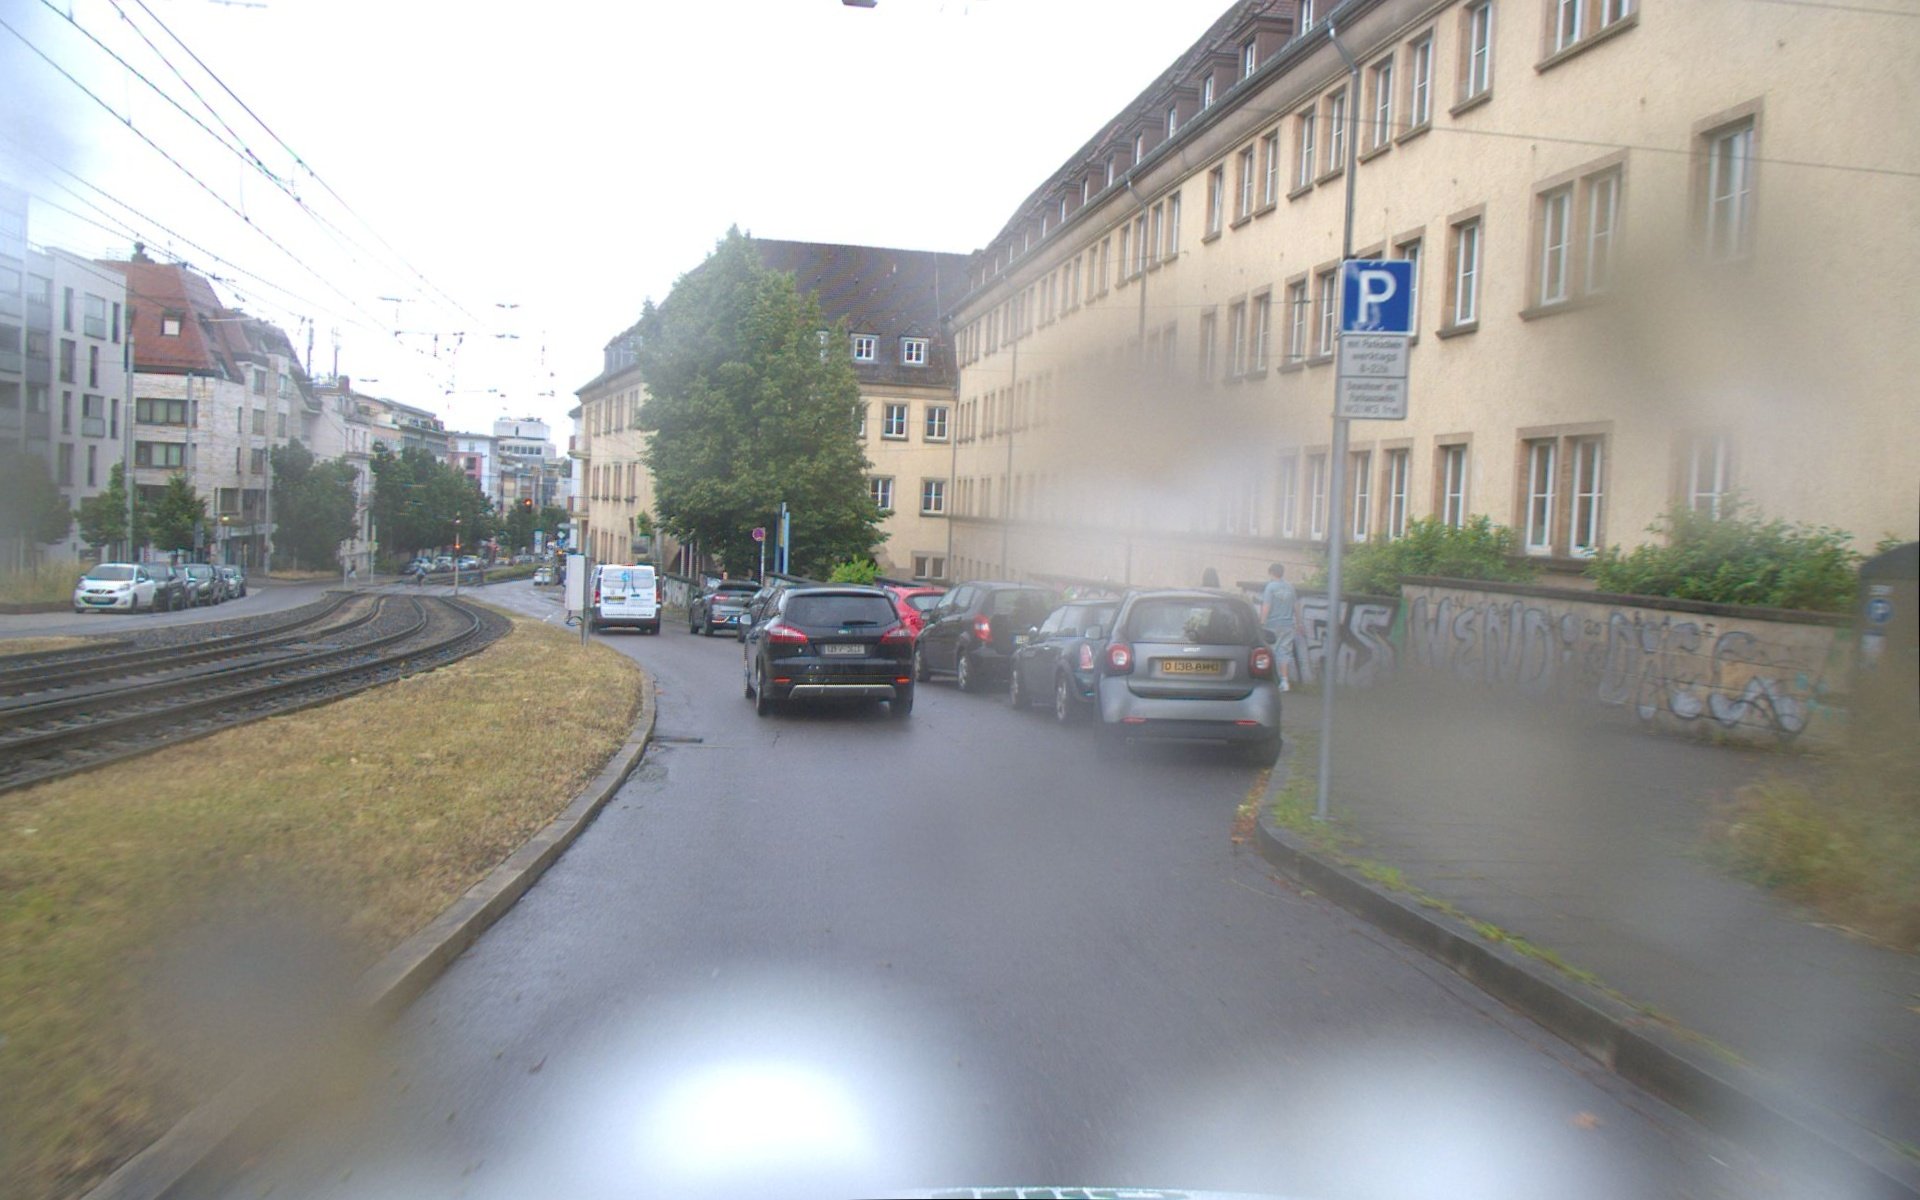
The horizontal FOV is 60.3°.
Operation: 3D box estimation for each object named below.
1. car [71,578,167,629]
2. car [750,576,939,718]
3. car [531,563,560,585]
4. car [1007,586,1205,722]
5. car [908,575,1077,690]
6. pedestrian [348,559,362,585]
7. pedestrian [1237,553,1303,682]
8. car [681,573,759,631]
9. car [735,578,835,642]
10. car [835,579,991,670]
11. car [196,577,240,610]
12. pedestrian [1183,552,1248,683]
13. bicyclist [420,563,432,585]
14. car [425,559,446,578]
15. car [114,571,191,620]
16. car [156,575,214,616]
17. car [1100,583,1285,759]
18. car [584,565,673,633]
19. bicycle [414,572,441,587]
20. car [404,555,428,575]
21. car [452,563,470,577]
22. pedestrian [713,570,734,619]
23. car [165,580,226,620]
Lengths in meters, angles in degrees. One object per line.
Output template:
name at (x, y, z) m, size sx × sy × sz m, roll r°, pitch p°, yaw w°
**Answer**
car at (-26.408, 0.099, 52.034) m, size 1.734 × 1.505 × 3.724 m, roll 1°, pitch 0°, yaw -12°
car at (-1.497, 0.490, 19.937) m, size 1.885 × 1.505 × 3.991 m, roll 1°, pitch 1°, yaw -10°
car at (-35.355, -2.186, 141.205) m, size 1.956 × 1.803 × 3.993 m, roll 2°, pitch 0°, yaw -8°
car at (1.633, 0.566, 19.664) m, size 1.507 × 1.441 × 3.636 m, roll 0°, pitch 1°, yaw -9°
car at (0.405, 0.439, 25.039) m, size 1.637 × 1.600 × 3.842 m, roll 0°, pitch 0°, yaw -14°
pedestrian at (-46.433, -2.118, 126.985) m, size 0.893 × 1.965 × 0.819 m, roll 2°, pitch 0°, yaw -23°
pedestrian at (4.355, 0.241, 23.253) m, size 0.704 × 1.785 × 0.738 m, roll 1°, pitch 0°, yaw -8°
car at (-6.779, 0.030, 46.417) m, size 1.638 × 1.551 × 4.091 m, roll 0°, pitch 1°, yaw -16°
car at (-4.395, 0.213, 41.010) m, size 1.640 × 1.502 × 4.087 m, roll 0°, pitch 1°, yaw -19°
car at (-0.937, 0.410, 30.216) m, size 1.641 × 1.502 × 4.042 m, roll 2°, pitch 0°, yaw -20°
car at (-35.824, -0.318, 79.927) m, size 1.748 × 1.530 × 4.056 m, roll 1°, pitch 0°, yaw -22°
pedestrian at (3.563, 0.240, 23.093) m, size 0.704 × 1.785 × 0.738 m, roll 1°, pitch 0°, yaw -8°
bicyclist at (-39.271, -1.886, 121.698) m, size 0.695 × 1.601 × 0.456 m, roll 2°, pitch 0°, yaw -41°
car at (-58.937, -3.536, 185.793) m, size 1.960 × 2.049 × 3.985 m, roll 2°, pitch 0°, yaw -14°
car at (-27.432, -0.158, 56.300) m, size 1.738 × 1.588 × 4.383 m, roll 1°, pitch 0°, yaw -18°
car at (-28.776, -0.191, 61.478) m, size 1.525 × 1.460 × 3.433 m, roll 1°, pitch 0°, yaw -18°
car at (2.107, 0.590, 15.526) m, size 1.564 × 1.491 × 2.722 m, roll 0°, pitch 1°, yaw 5°
car at (-9.324, -0.060, 46.286) m, size 2.102 × 1.775 × 4.200 m, roll 1°, pitch 1°, yaw -16°
bicycle at (-39.217, -1.510, 121.766) m, size 1.786 × 1.082 × 0.451 m, roll 3°, pitch 0°, yaw -41°
car at (-56.968, -3.668, 173.230) m, size 1.960 × 2.049 × 3.985 m, roll 2°, pitch 0°, yaw -14°
car at (-63.215, -3.840, 209.602) m, size 1.960 × 1.691 × 3.985 m, roll 2°, pitch 0°, yaw -14°
pedestrian at (-8.648, -0.210, 60.376) m, size 0.622 × 1.751 × 0.707 m, roll 1°, pitch 0°, yaw -18°
car at (-30.540, -0.028, 66.188) m, size 1.693 × 1.539 × 4.296 m, roll 1°, pitch 0°, yaw -18°
